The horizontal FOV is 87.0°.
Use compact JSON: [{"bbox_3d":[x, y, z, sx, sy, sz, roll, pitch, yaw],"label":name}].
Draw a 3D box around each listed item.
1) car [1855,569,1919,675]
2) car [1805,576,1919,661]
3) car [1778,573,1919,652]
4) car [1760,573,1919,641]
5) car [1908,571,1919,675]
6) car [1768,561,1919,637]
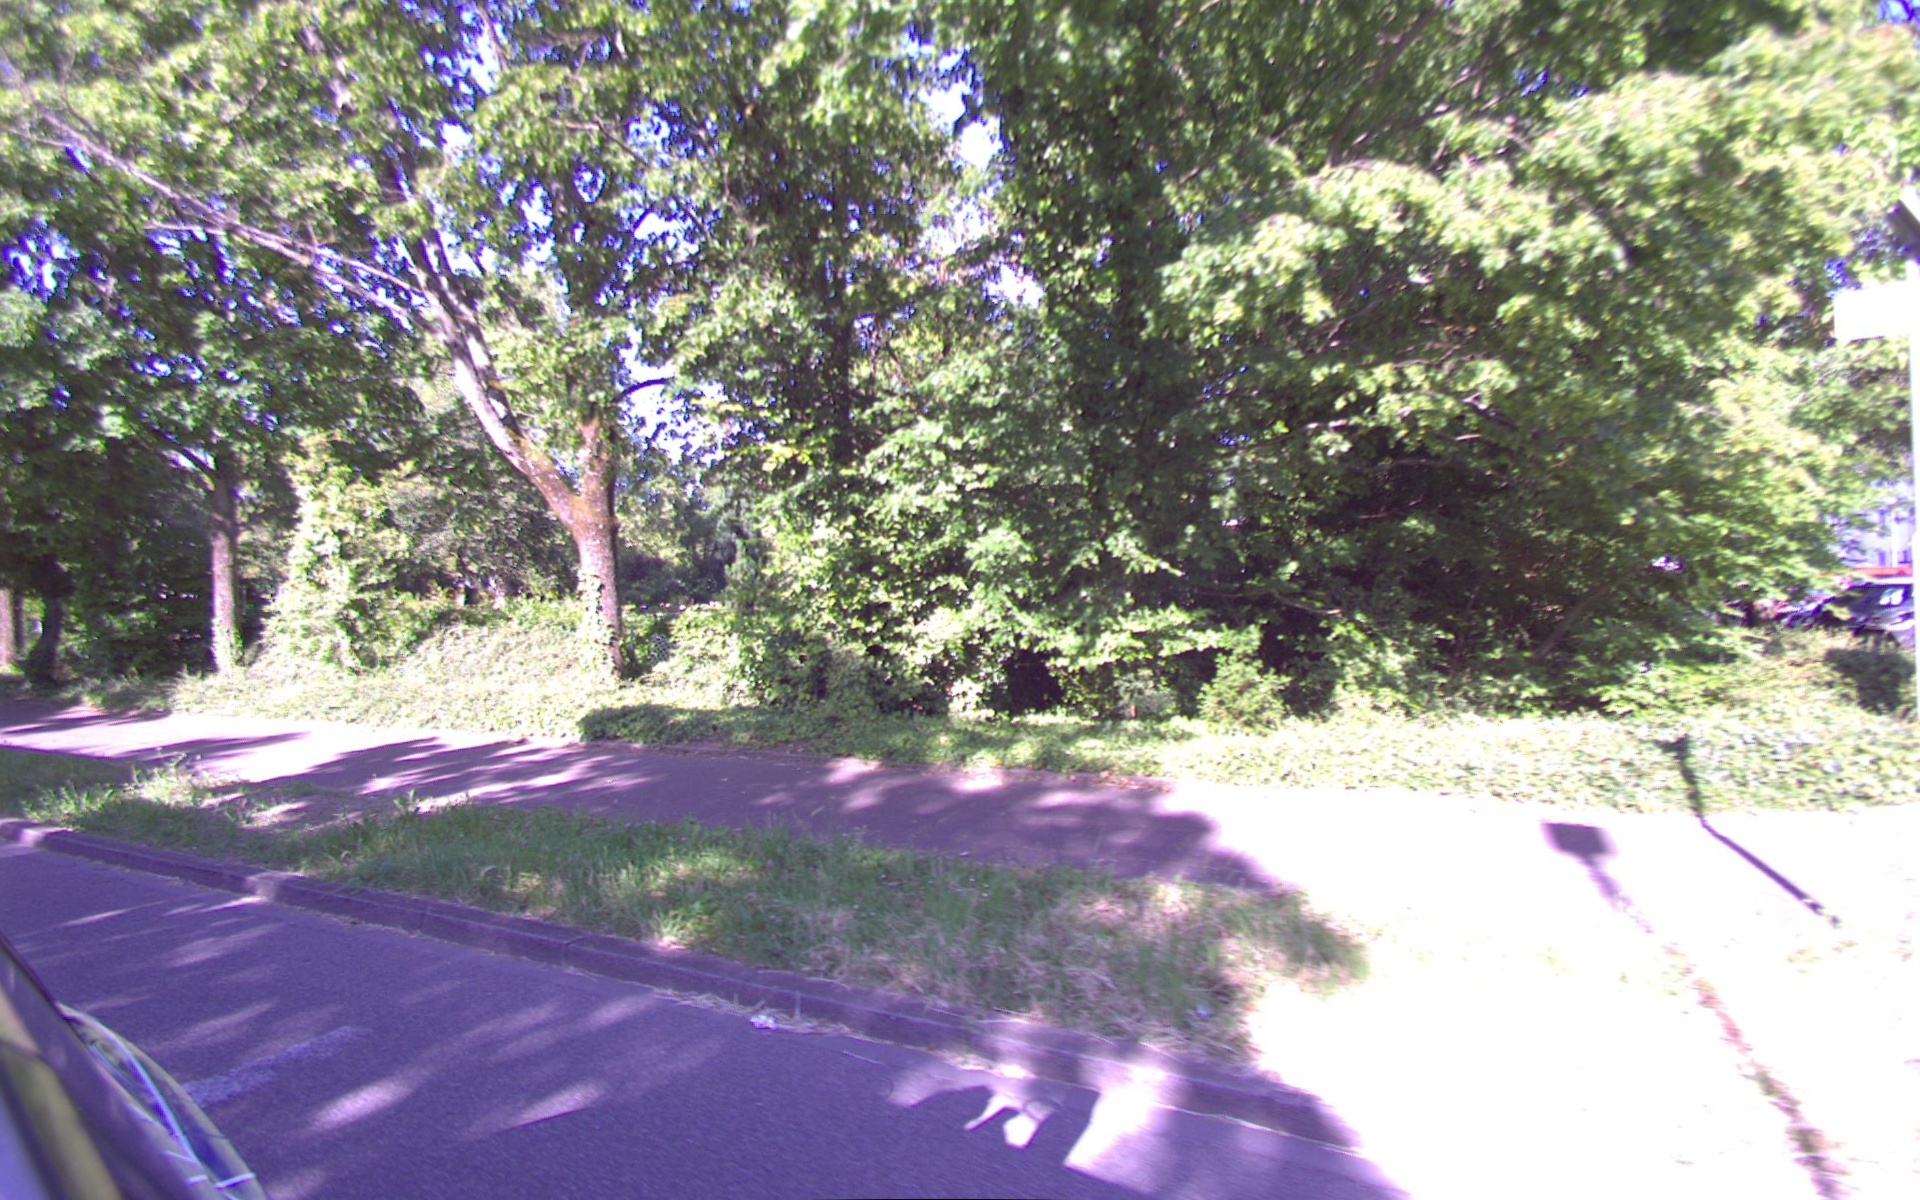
[{"bbox_3d":[16.485,0.322,15.476,3.867,1.615,1.660,0,0,28],"label":"car"},{"bbox_3d":[17.905,0.323,18.195,3.867,1.498,1.660,0,0,28],"label":"car"},{"bbox_3d":[19.467,0.235,20.770,3.867,1.569,1.660,0,0,28],"label":"car"},{"bbox_3d":[21.222,0.150,23.516,3.867,1.498,1.660,0,0,28],"label":"car"},{"bbox_3d":[15.316,0.328,13.267,3.867,1.498,1.660,0,0,28],"label":"car"},{"bbox_3d":[22.997,-0.023,25.106,4.334,1.821,1.660,0,0,28],"label":"car"}]
